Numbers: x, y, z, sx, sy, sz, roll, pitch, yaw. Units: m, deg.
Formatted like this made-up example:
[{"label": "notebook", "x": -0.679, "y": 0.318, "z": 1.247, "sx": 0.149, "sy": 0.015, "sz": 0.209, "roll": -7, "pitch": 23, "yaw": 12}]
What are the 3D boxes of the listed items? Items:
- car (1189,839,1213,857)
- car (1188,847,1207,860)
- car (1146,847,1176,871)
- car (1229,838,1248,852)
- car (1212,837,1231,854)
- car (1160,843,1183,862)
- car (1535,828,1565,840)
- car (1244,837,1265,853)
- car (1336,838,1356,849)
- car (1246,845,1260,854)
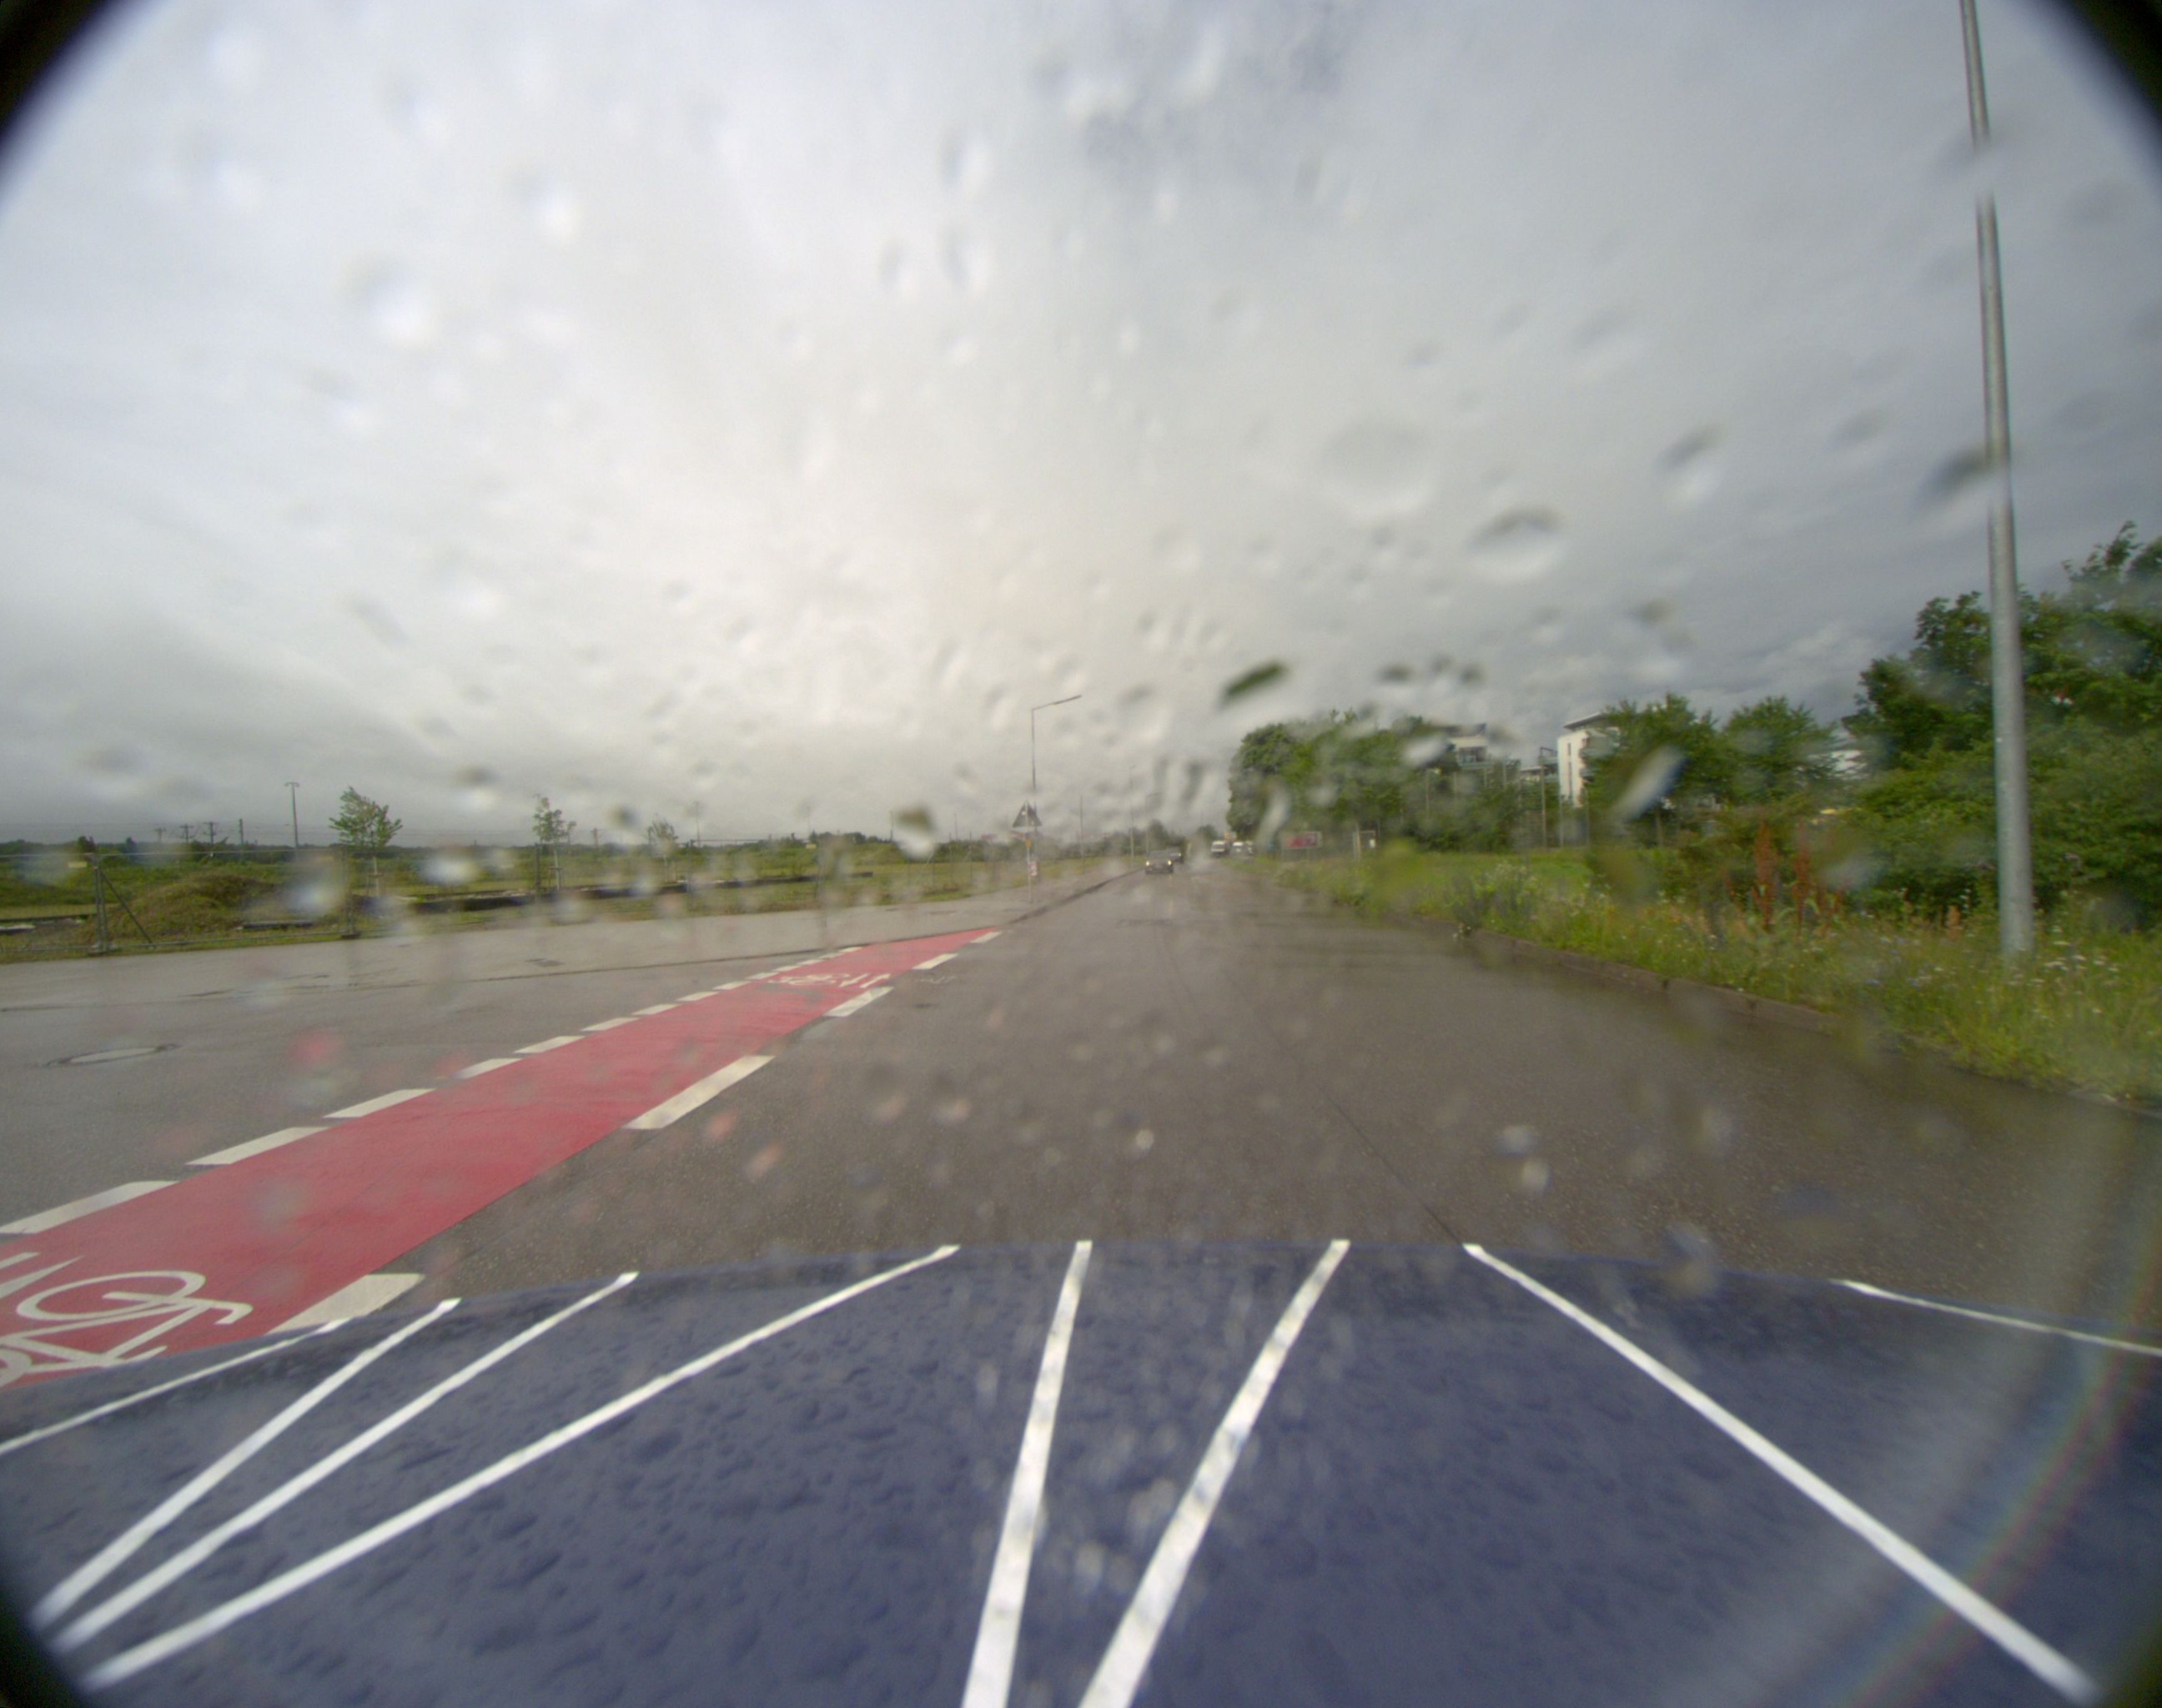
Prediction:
[{"label": "car", "x": 17.824, "y": -0.912, "z": 113.006, "sx": 2.094, "sy": 2.459, "sz": 5.956, "roll": -1, "pitch": 1, "yaw": 23}, {"label": "car", "x": 15.213, "y": -0.101, "z": 99.081, "sx": 1.839, "sy": 1.510, "sz": 4.362, "roll": -2, "pitch": 0, "yaw": 17}, {"label": "car", "x": 5.400, "y": 0.342, "z": 51.093, "sx": 1.872, "sy": 1.510, "sz": 4.359, "roll": 1, "pitch": 0, "yaw": 7}, {"label": "car", "x": 29.443, "y": -1.727, "z": 141.957, "sx": 2.070, "sy": 2.514, "sz": 6.668, "roll": -1, "pitch": 1, "yaw": 24}, {"label": "car", "x": 23.623, "y": -1.439, "z": 127.471, "sx": 2.146, "sy": 2.867, "sz": 5.283, "roll": 1, "pitch": 2, "yaw": 21}, {"label": "car", "x": 9.119, "y": -0.175, "z": 76.725, "sx": 2.009, "sy": 1.695, "sz": 4.330, "roll": -5, "pitch": 0, "yaw": 6}, {"label": "car", "x": 63.424, "y": -2.722, "z": 102.864, "sx": 1.641, "sy": 1.388, "sz": 4.186, "roll": -4, "pitch": 1, "yaw": 5}, {"label": "car", "x": 34.804, "y": -1.830, "z": 152.189, "sx": 2.473, "sy": 2.939, "sz": 6.897, "roll": -1, "pitch": 1, "yaw": 26}, {"label": "car", "x": 37.050, "y": -1.491, "z": 106.361, "sx": 1.686, "sy": 1.388, "sz": 4.130, "roll": -4, "pitch": 1, "yaw": 5}, {"label": "car", "x": 31.280, "y": -0.917, "z": 138.483, "sx": 1.839, "sy": 1.510, "sz": 4.363, "roll": -2, "pitch": 0, "yaw": 21}]
